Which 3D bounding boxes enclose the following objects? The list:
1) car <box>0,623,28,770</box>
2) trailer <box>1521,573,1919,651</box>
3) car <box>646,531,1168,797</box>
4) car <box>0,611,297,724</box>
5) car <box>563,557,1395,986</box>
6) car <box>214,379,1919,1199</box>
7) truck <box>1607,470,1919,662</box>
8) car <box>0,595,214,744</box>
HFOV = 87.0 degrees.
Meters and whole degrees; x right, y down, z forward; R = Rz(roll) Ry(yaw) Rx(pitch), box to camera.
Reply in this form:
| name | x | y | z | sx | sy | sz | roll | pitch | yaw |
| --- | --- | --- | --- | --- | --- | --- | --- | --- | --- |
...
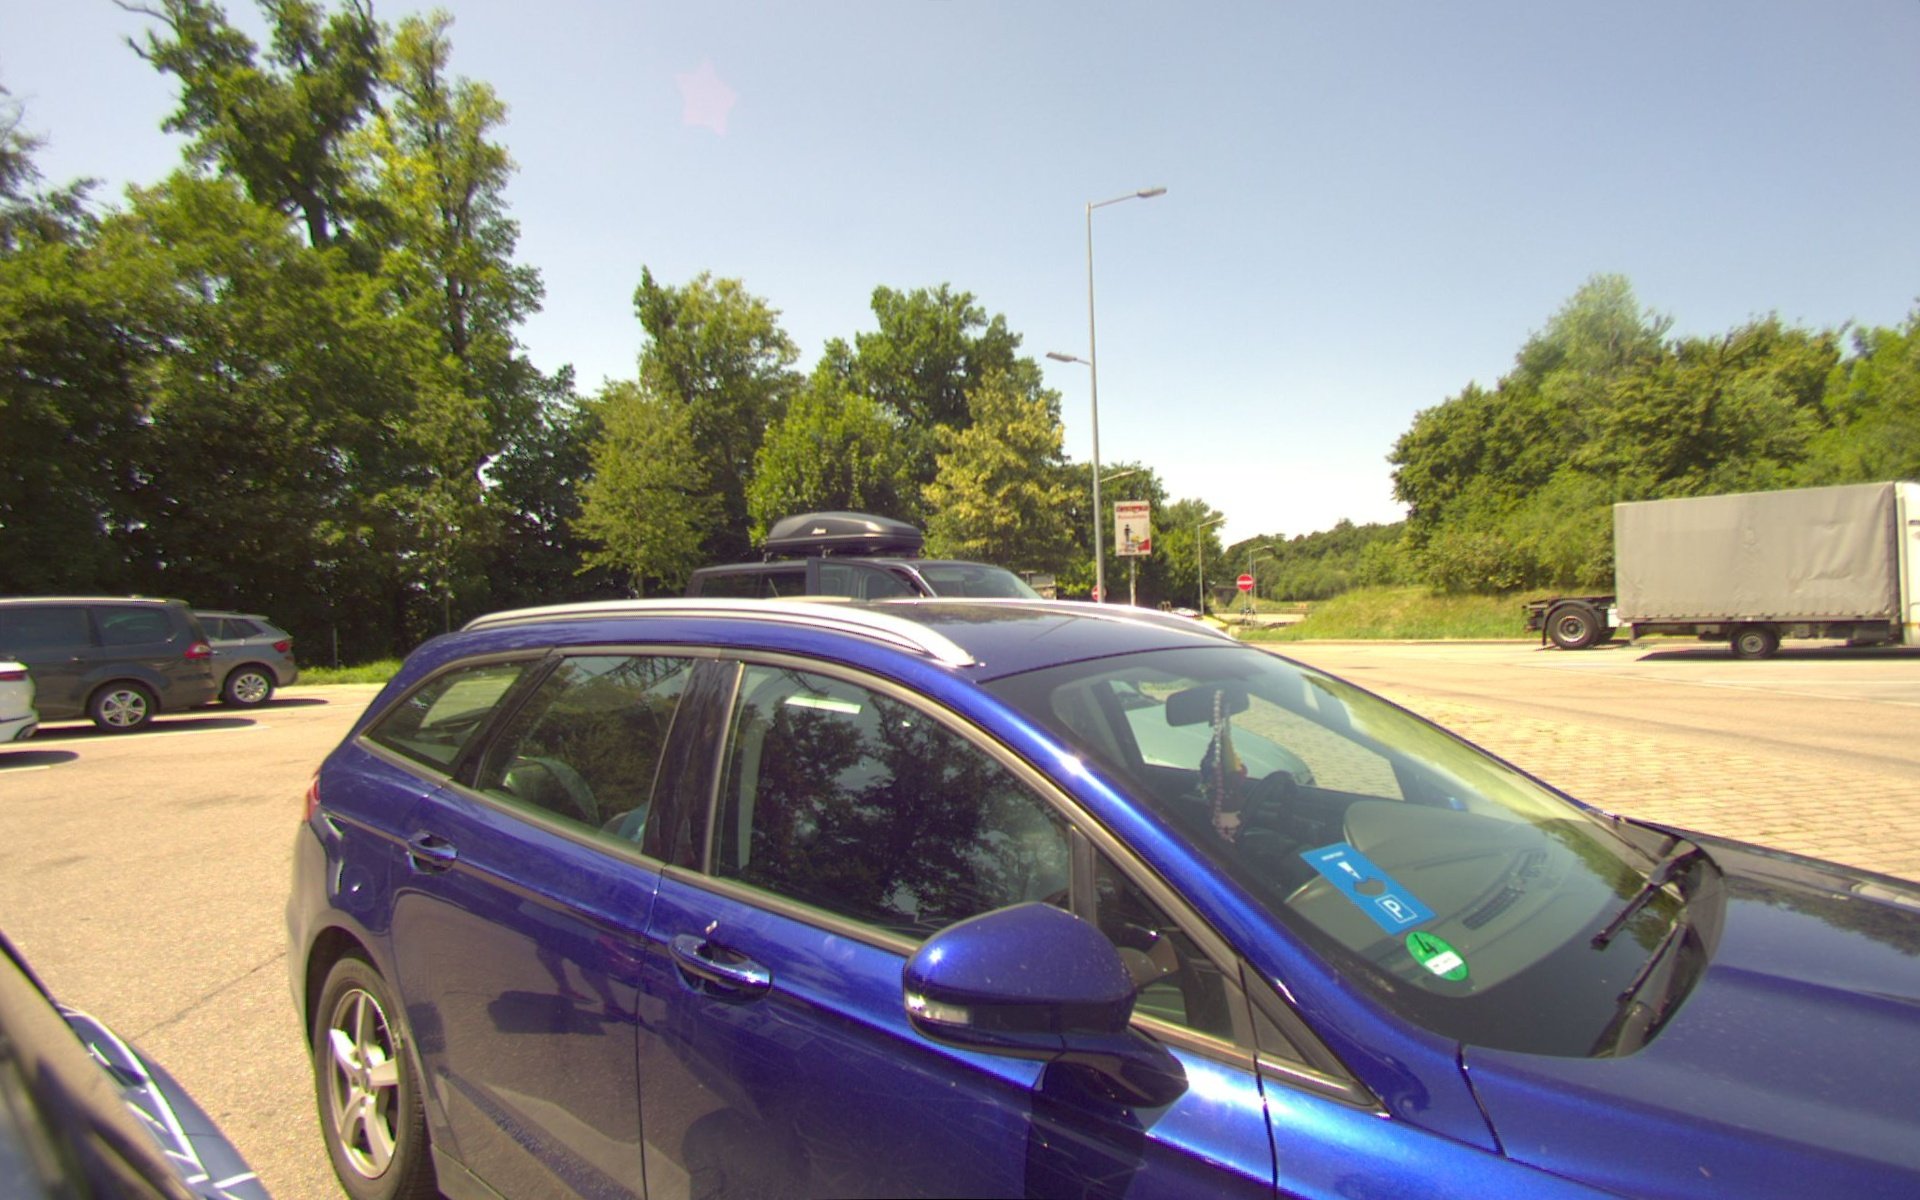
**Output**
| name | x | y | z | sx | sy | sz | roll | pitch | yaw |
| --- | --- | --- | --- | --- | --- | --- | --- | --- | --- |
| car | -10.996 | 0.938 | 9.151 | 3.767 | 1.396 | 1.722 | 0 | -1 | -44 |
| trailer | 17.634 | 0.307 | 23.151 | 8.088 | 1.385 | 2.200 | -4 | -1 | 41 |
| car | -0.659 | 0.514 | 9.352 | 4.635 | 1.884 | 1.937 | -2 | 0 | 37 |
| car | -12.594 | 0.960 | 15.695 | 3.762 | 1.551 | 1.724 | 0 | -1 | -38 |
| car | -0.215 | 0.676 | 5.779 | 4.637 | 1.545 | 1.720 | -2 | 0 | 39 |
| car | 0.248 | 0.639 | 2.067 | 4.637 | 1.493 | 1.720 | -2 | -1 | 39 |
| truck | 16.706 | -0.604 | 18.929 | 7.337 | 3.235 | 2.502 | -4 | -1 | 41 |
| car | -11.655 | 0.827 | 12.615 | 3.762 | 1.737 | 1.724 | 0 | -1 | -38 |
